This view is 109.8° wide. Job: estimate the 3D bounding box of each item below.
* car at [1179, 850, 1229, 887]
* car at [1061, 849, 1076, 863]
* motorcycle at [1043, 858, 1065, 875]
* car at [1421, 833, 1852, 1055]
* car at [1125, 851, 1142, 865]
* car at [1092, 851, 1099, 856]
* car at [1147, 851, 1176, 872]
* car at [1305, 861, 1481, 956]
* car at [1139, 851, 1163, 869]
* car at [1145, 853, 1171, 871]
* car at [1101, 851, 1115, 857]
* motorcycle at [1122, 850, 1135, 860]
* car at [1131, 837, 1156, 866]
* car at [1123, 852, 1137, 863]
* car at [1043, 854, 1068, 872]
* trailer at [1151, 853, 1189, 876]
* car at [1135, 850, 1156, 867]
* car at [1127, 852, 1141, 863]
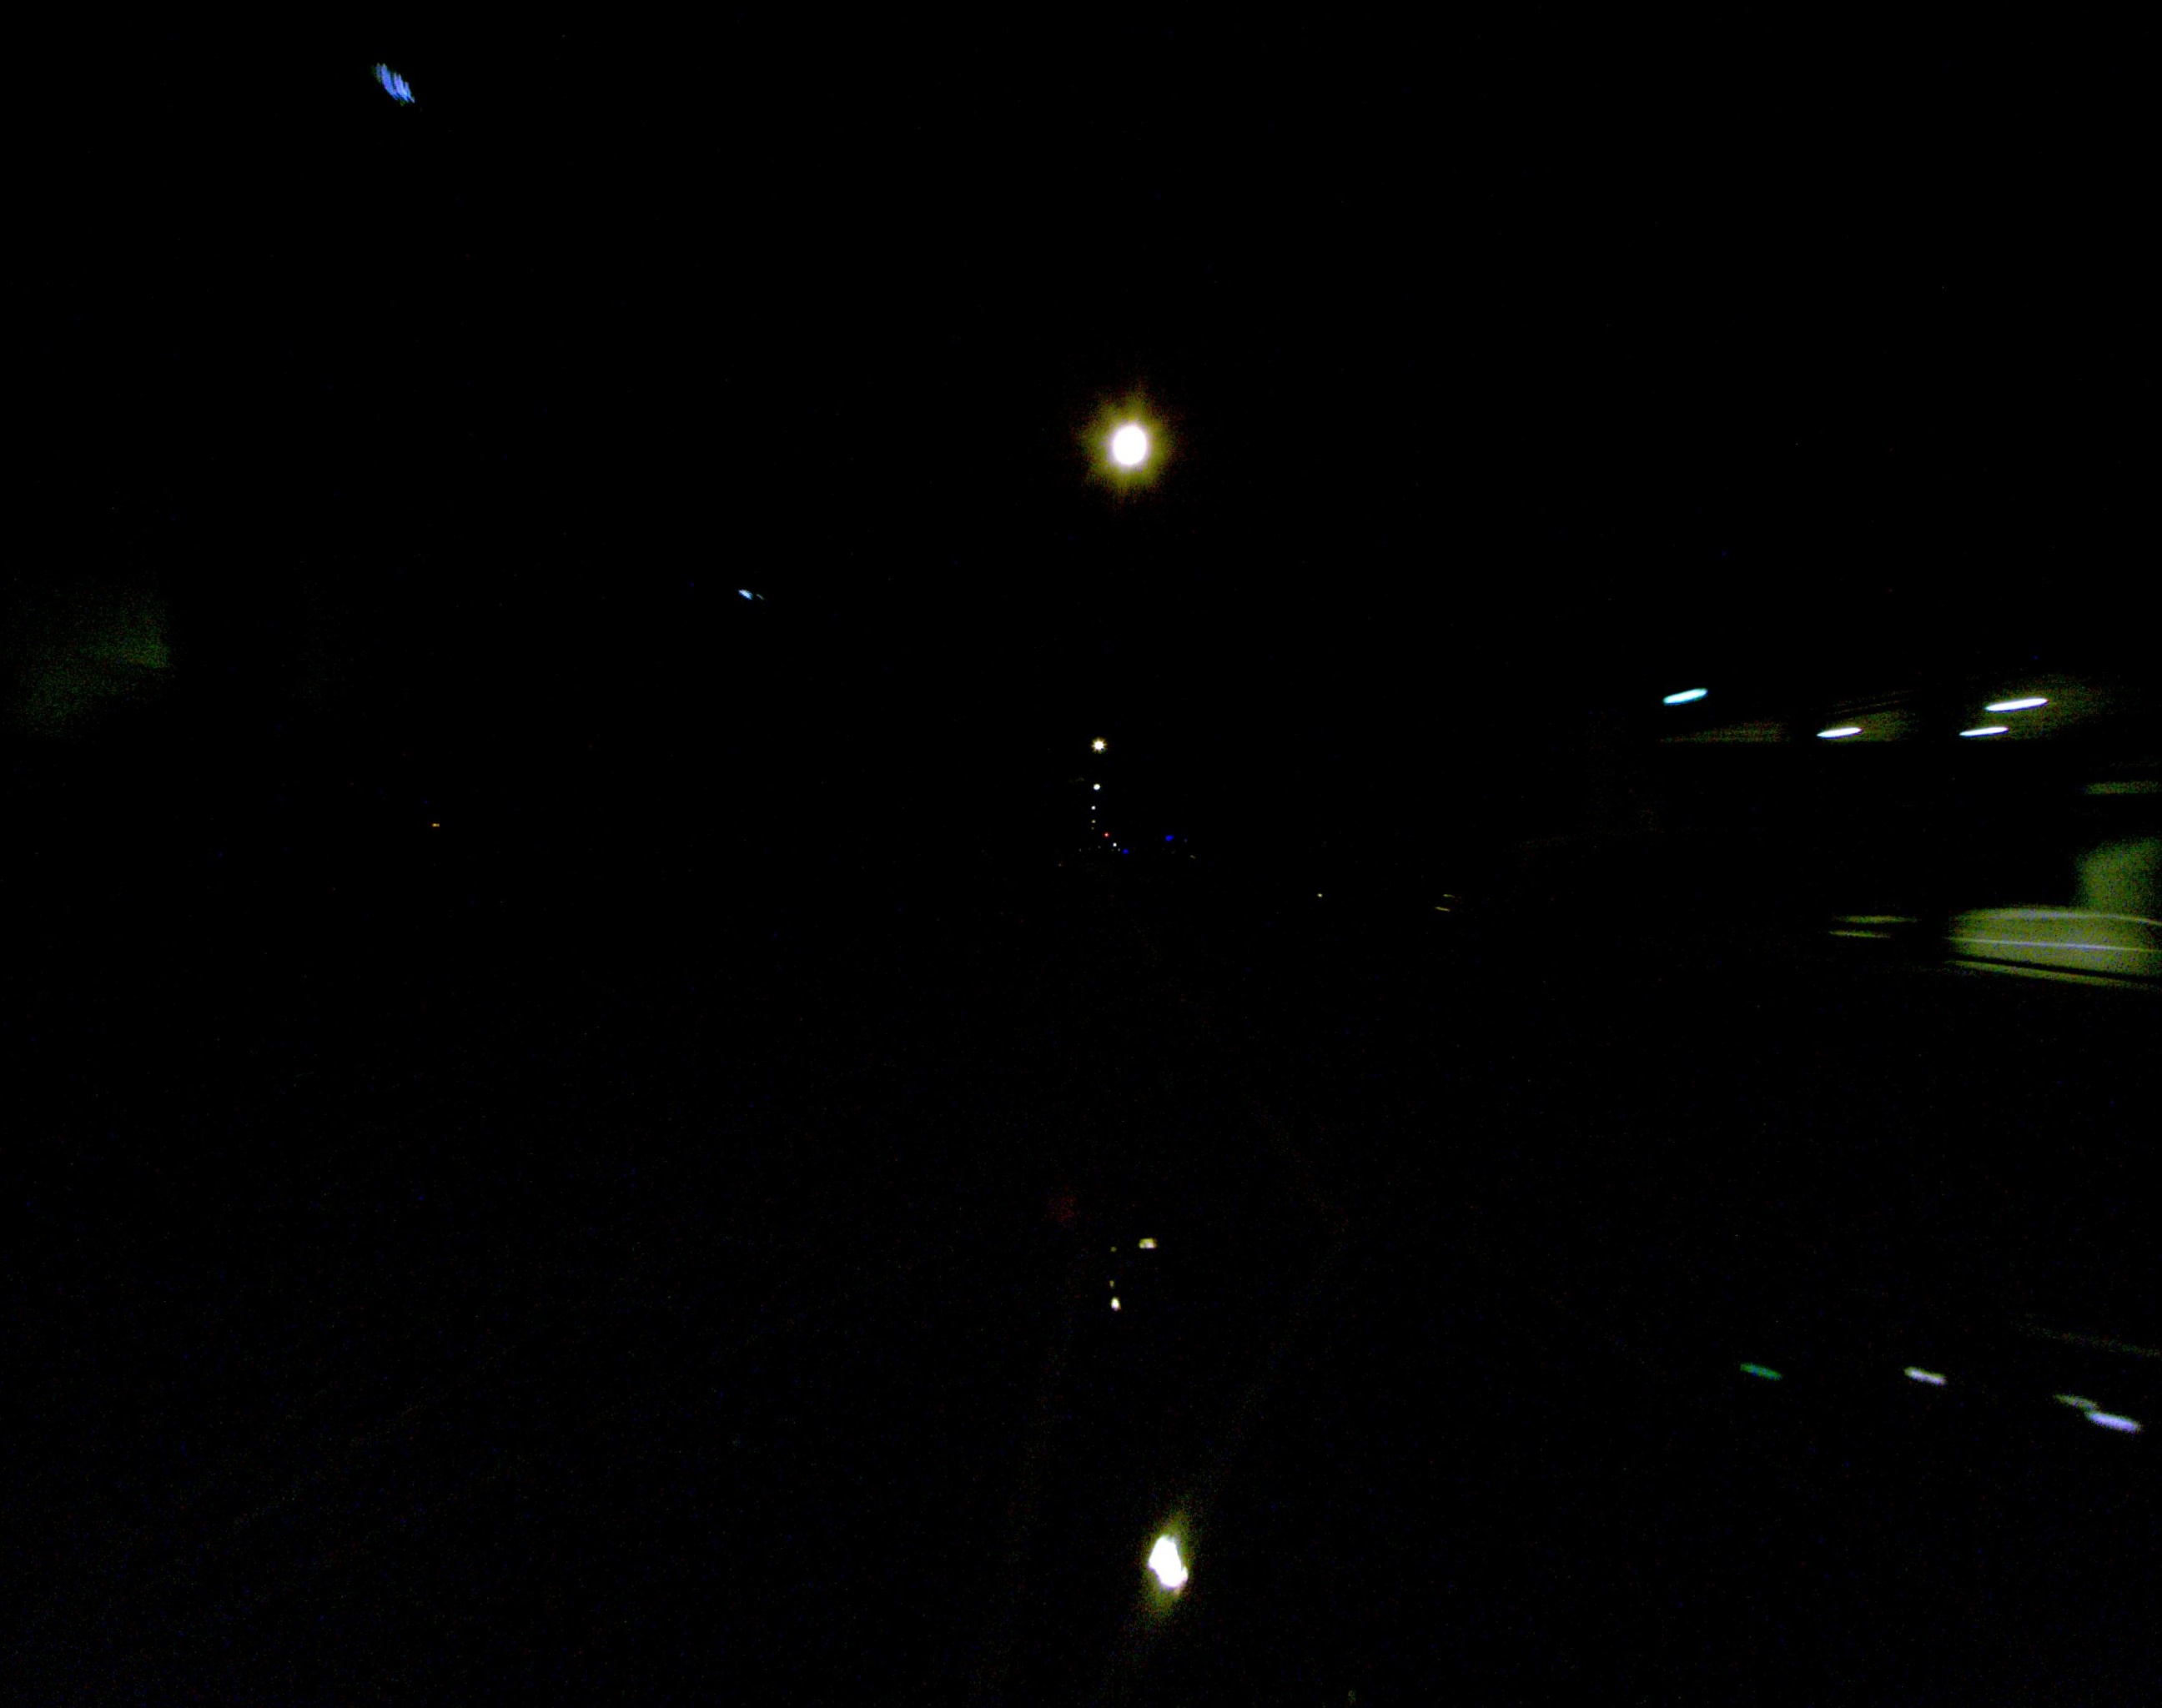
[{"bbox_3d":[5.875,0.648,36.632,1.826,1.589,4.073,-2,0,2],"label":"car"},{"bbox_3d":[-1.766,0.283,106.601,1.956,1.953,4.603,-1,0,0],"label":"car"},{"bbox_3d":[-2.130,0.927,58.825,0.930,1.276,2.230,-1,1,-24],"label":"motorcycle"},{"bbox_3d":[5.710,0.774,8.629,1.826,1.801,4.210,-4,0,2],"label":"car"},{"bbox_3d":[6.306,0.466,91.539,1.649,1.496,3.861,-3,0,0],"label":"car"},{"bbox_3d":[4.363,-0.149,233.247,1.936,1.646,3.833,0,0,0],"label":"car"},{"bbox_3d":[6.278,0.549,59.632,1.721,1.493,4.205,-3,0,0],"label":"car"},{"bbox_3d":[5.693,0.916,14.400,1.704,1.425,3.828,-3,0,0],"label":"car"},{"bbox_3d":[6.401,0.532,70.083,1.746,1.597,4.297,-1,0,-1],"label":"car"},{"bbox_3d":[6.475,0.662,64.600,1.709,1.403,4.633,-2,0,0],"label":"car"},{"bbox_3d":[7.660,-0.024,217.194,3.763,1.577,1.634,0,1,-3],"label":"car"},{"bbox_3d":[7.365,0.198,118.494,1.909,1.541,0.638,-3,1,-19],"label":"motorcycle"},{"bbox_3d":[6.605,-0.289,81.201,2.184,2.892,4.909,-2,0,0],"label":"car"},{"bbox_3d":[6.939,0.533,108.402,1.646,1.495,3.903,-3,0,0],"label":"car"},{"bbox_3d":[-2.136,0.772,64.692,1.672,1.420,4.148,1,0,3],"label":"car"},{"bbox_3d":[6.009,0.665,51.769,2.115,1.327,5.435,-3,0,2],"label":"trailer"},{"bbox_3d":[6.379,0.457,75.618,1.746,1.597,4.115,2,0,1],"label":"car"},{"bbox_3d":[6.772,0.440,97.788,1.551,1.447,3.368,-3,0,0],"label":"car"}]
